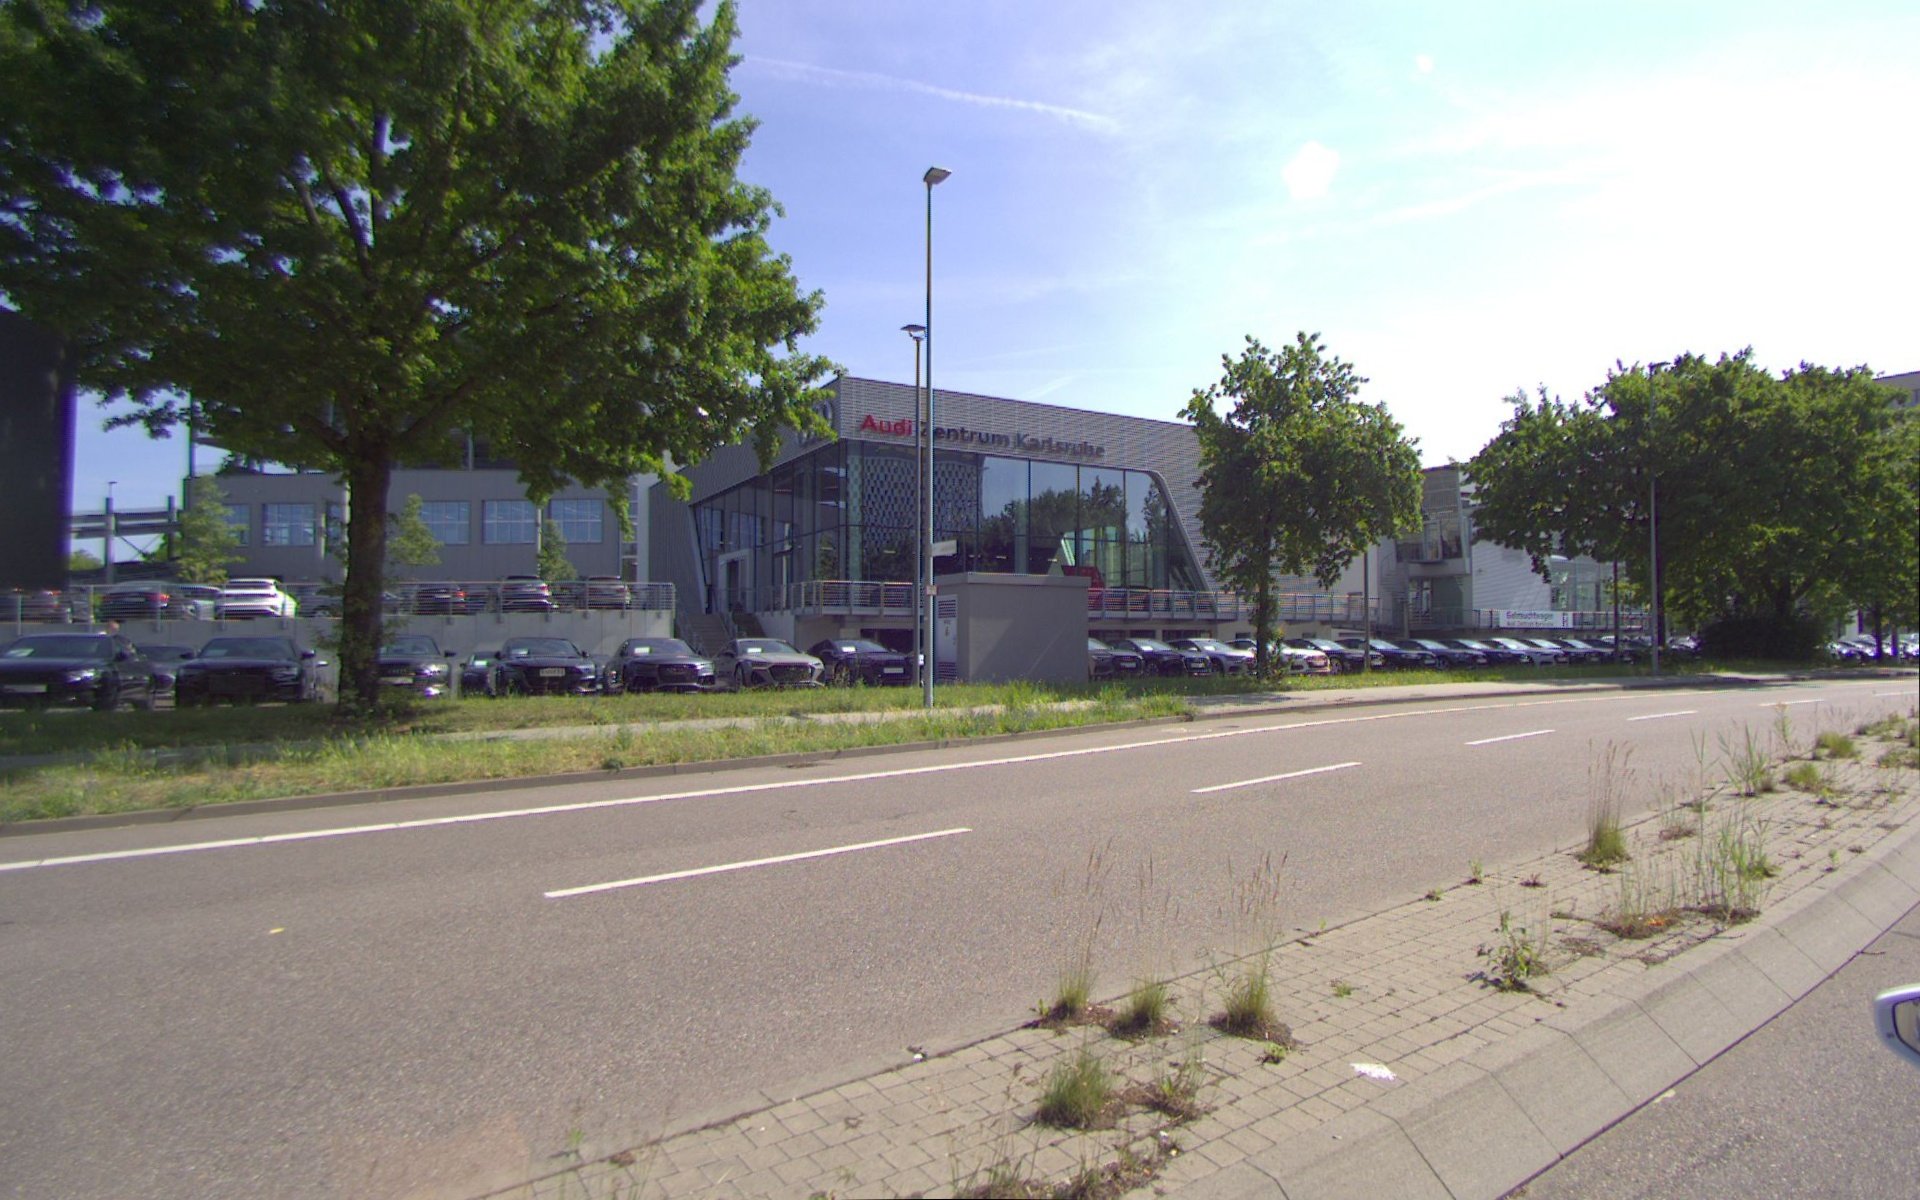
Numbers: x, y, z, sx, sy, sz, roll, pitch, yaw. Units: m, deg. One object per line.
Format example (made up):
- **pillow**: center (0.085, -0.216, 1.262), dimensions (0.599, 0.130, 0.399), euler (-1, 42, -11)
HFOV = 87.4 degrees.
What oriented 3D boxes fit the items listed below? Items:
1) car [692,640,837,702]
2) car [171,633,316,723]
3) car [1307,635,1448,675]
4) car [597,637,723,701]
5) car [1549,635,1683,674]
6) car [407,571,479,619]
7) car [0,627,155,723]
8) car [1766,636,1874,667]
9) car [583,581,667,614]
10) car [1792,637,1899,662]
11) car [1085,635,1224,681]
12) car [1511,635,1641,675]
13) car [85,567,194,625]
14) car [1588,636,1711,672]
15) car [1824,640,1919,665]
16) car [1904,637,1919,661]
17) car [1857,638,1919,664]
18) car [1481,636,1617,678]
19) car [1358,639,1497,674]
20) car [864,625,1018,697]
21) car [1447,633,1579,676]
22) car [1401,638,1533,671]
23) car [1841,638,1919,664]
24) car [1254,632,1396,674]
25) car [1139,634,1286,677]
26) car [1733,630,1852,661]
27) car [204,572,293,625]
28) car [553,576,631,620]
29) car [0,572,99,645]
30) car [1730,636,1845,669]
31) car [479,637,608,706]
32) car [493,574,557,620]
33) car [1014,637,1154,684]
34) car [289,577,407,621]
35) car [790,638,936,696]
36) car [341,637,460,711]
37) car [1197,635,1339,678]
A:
- **car**: center (-4.760, 1.609, 23.972), dimensions (1.982, 1.307, 4.476), euler (1, -2, -31)
- **car**: center (-13.449, 1.381, 19.108), dimensions (1.898, 1.495, 4.476), euler (1, -2, -31)
- **car**: center (14.447, 1.928, 34.970), dimensions (1.933, 1.205, 4.154), euler (1, -5, -32)
- **car**: center (-6.926, 1.499, 22.905), dimensions (1.673, 1.307, 4.476), euler (1, -2, -31)
- **car**: center (27.991, 2.371, 42.993), dimensions (2.027, 1.460, 4.287), euler (1, -6, -30)
- **car**: center (-17.881, -0.148, 34.633), dimensions (2.027, 1.515, 3.968), euler (1, -1, -30)
- **car**: center (-15.854, 1.245, 17.733), dimensions (1.958, 1.495, 4.476), euler (1, -2, -31)
- **car**: center (44.588, 2.687, 52.158), dimensions (1.638, 1.437, 3.863), euler (0, -5, -26)
- **car**: center (-15.993, -0.086, 48.214), dimensions (1.885, 1.483, 4.668), euler (1, -1, 9)
- **car**: center (47.340, 2.657, 53.762), dimensions (1.771, 1.167, 3.863), euler (0, -5, -26)
- **car**: center (5.695, 1.750, 29.841), dimensions (1.876, 1.171, 3.968), euler (1, -5, -32)
- **car**: center (25.504, 2.312, 41.740), dimensions (1.976, 1.460, 4.124), euler (1, -6, -29)
- **car**: center (-24.897, -0.054, 30.641), dimensions (1.958, 1.571, 4.476), euler (1, -2, -31)
- **car**: center (30.275, 2.409, 44.224), dimensions (1.976, 1.376, 3.972), euler (1, -6, -29)
- **car**: center (50.037, 2.897, 54.848), dimensions (1.886, 1.181, 3.863), euler (0, -5, -26)
- **car**: center (60.986, 2.927, 61.723), dimensions (1.844, 1.483, 3.861), euler (0, -5, -28)
- **car**: center (54.317, 2.896, 57.601), dimensions (1.726, 1.382, 3.863), euler (0, -5, -26)
- **car**: center (23.440, 2.302, 40.133), dimensions (1.976, 1.460, 4.232), euler (1, -6, -29)
- **car**: center (16.802, 2.054, 36.293), dimensions (1.933, 1.091, 4.154), euler (1, -5, -32)
- **car**: center (-0.520, 1.679, 28.541), dimensions (3.954, 1.901, 1.984), euler (1, -2, -31)
- **car**: center (21.258, 2.141, 38.768), dimensions (1.976, 1.460, 3.972), euler (1, -6, -29)
- **car**: center (18.731, 2.056, 37.298), dimensions (1.678, 1.047, 4.088), euler (1, -5, -32)
- **car**: center (52.302, 2.856, 56.343), dimensions (1.824, 1.350, 3.863), euler (0, -5, -26)
- **car**: center (12.155, 1.801, 33.697), dimensions (1.933, 1.205, 4.154), euler (1, -5, -32)
- **car**: center (7.760, 1.755, 31.237), dimensions (2.064, 1.171, 4.154), euler (1, -5, -32)
- **car**: center (42.115, 2.312, 50.918), dimensions (2.011, 1.348, 4.155), euler (0, -5, -26)
- **car**: center (-22.566, 0.027, 32.008), dimensions (1.958, 1.504, 4.476), euler (1, -2, -31)
- **car**: center (-13.632, -0.059, 37.087), dimensions (1.963, 1.515, 4.498), euler (1, -1, -30)
- **car**: center (-26.898, 0.299, 29.293), dimensions (1.958, 1.988, 4.476), euler (1, -2, -31)
- **car**: center (40.332, 2.587, 49.046), dimensions (1.886, 1.437, 3.863), euler (0, -5, -26)
- **car**: center (-9.052, 1.451, 21.625), dimensions (1.898, 1.307, 4.476), euler (1, -2, -31)
- **car**: center (-15.584, -0.095, 35.902), dimensions (1.648, 1.515, 3.968), euler (1, -1, -30)
- **car**: center (3.432, 1.753, 28.542), dimensions (1.876, 1.171, 3.968), euler (1, -5, -32)
- **car**: center (-23.366, -0.014, 38.493), dimensions (3.745, 1.594, 1.941), euler (1, -1, -31)
- **car**: center (-2.545, 1.619, 25.316), dimensions (1.898, 1.307, 4.476), euler (1, -2, -31)
- **car**: center (-11.416, 1.411, 20.367), dimensions (1.898, 1.307, 4.476), euler (1, -2, -31)
- **car**: center (9.855, 1.849, 32.449), dimensions (1.933, 1.205, 4.154), euler (1, -5, -32)
